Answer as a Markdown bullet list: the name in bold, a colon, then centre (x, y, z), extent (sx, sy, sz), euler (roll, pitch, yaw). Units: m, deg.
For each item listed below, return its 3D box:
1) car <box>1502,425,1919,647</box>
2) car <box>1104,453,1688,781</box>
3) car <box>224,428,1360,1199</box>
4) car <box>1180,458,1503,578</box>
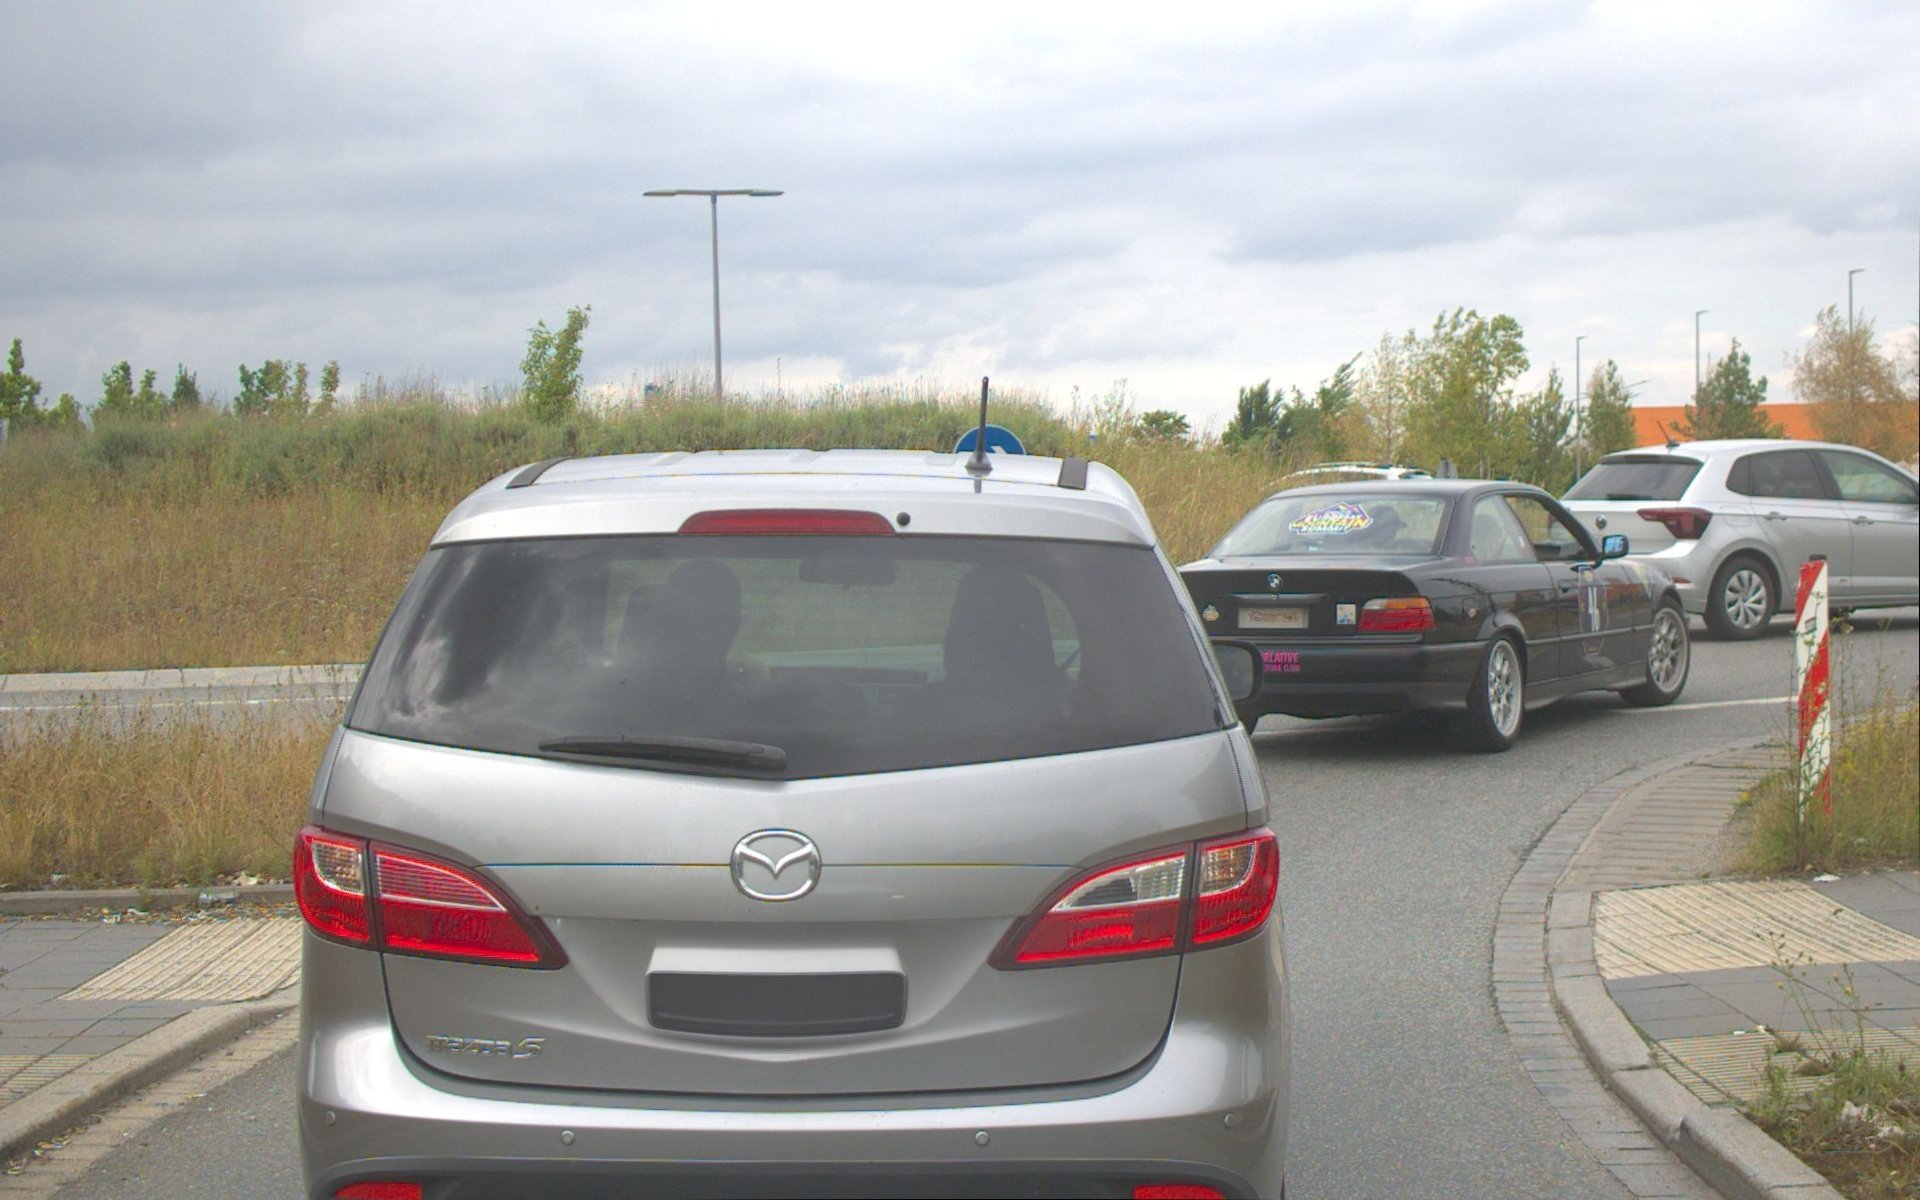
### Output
- **car**: centre (6.224, -0.536, 25.864), extent (3.987, 1.459, 1.814), euler (-3, 5, -30)
- **car**: centre (2.395, -0.014, 18.013), extent (1.740, 1.398, 3.992), euler (2, 4, 28)
- **car**: centre (-0.275, 0.479, 7.302), extent (1.738, 1.593, 3.998), euler (1, 2, 0)
- **car**: centre (5.618, -1.207, 50.781), extent (4.334, 1.642, 1.867), euler (0, 4, 33)
